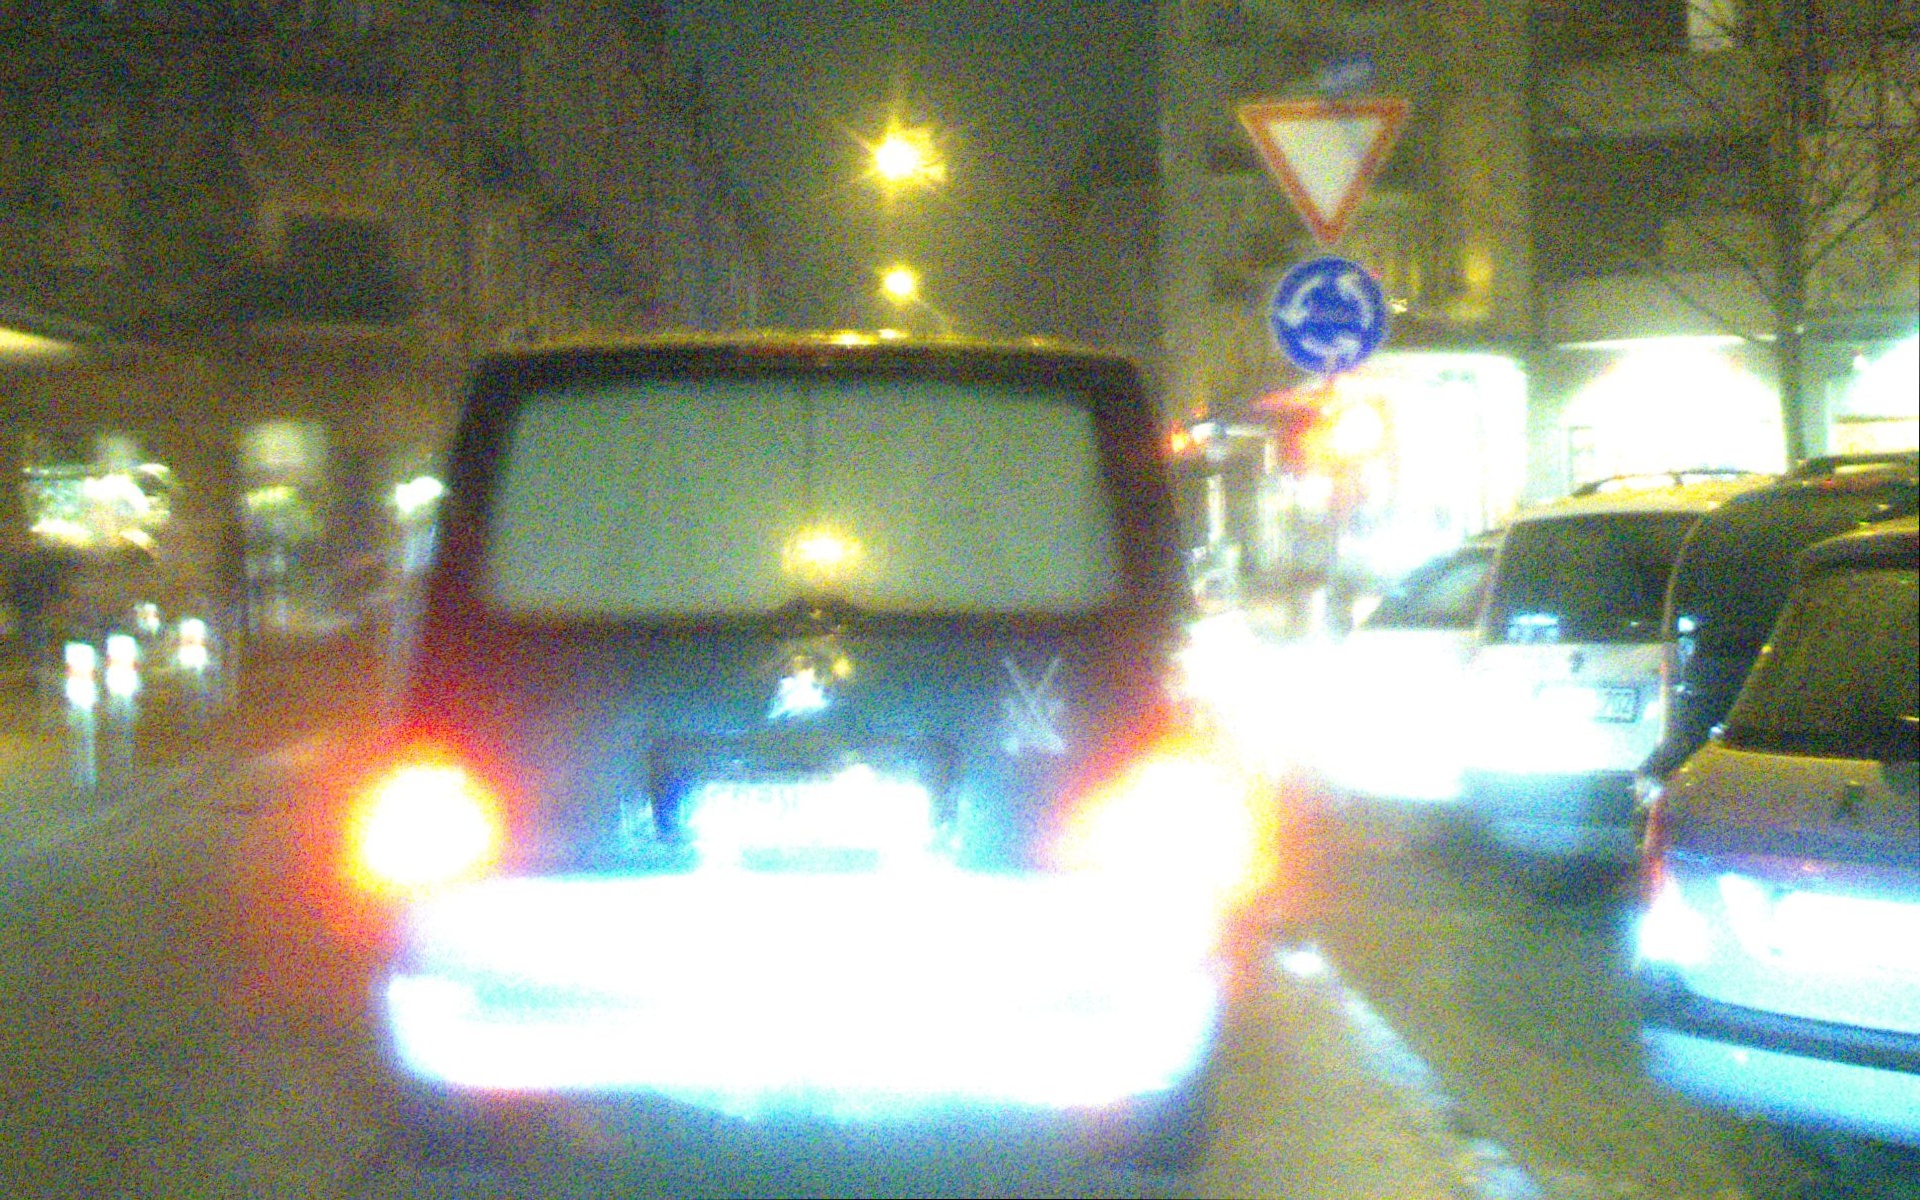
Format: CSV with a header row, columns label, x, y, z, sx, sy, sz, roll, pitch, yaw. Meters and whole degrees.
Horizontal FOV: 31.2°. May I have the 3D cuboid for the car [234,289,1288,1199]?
label,x,y,z,sx,sy,sz,roll,pitch,yaw
car,-0.421,0.324,9.273,2.122,1.984,4.601,0,1,-1

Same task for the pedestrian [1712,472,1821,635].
label,x,y,z,sx,sy,sz,roll,pitch,yaw
pedestrian,9.188,-0.525,39.154,0.878,1.827,0.982,0,1,35

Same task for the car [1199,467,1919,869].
label,x,y,z,sx,sy,sz,roll,pitch,yaw
car,3.411,0.217,15.994,4.249,1.568,1.772,-3,2,-29

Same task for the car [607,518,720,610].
label,x,y,z,sx,sy,sz,roll,pitch,yaw
car,-5.079,-0.646,59.298,1.586,1.458,4.024,2,1,0

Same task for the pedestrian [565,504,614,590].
label,x,y,z,sx,sy,sz,roll,pitch,yaw
pedestrian,-7.730,-1.102,71.718,0.804,1.760,1.015,1,1,5

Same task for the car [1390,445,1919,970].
label,x,y,z,sx,sy,sz,roll,pitch,yaw
car,3.663,0.273,13.108,3.729,1.706,1.771,-4,2,-35

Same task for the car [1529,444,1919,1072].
label,x,y,z,sx,sy,sz,roll,pitch,yaw
car,3.815,0.337,10.848,3.782,1.706,1.748,-4,2,-35

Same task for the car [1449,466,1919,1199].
label,x,y,z,sx,sy,sz,roll,pitch,yaw
car,3.256,0.447,7.721,4.060,1.592,1.834,-4,2,-35
